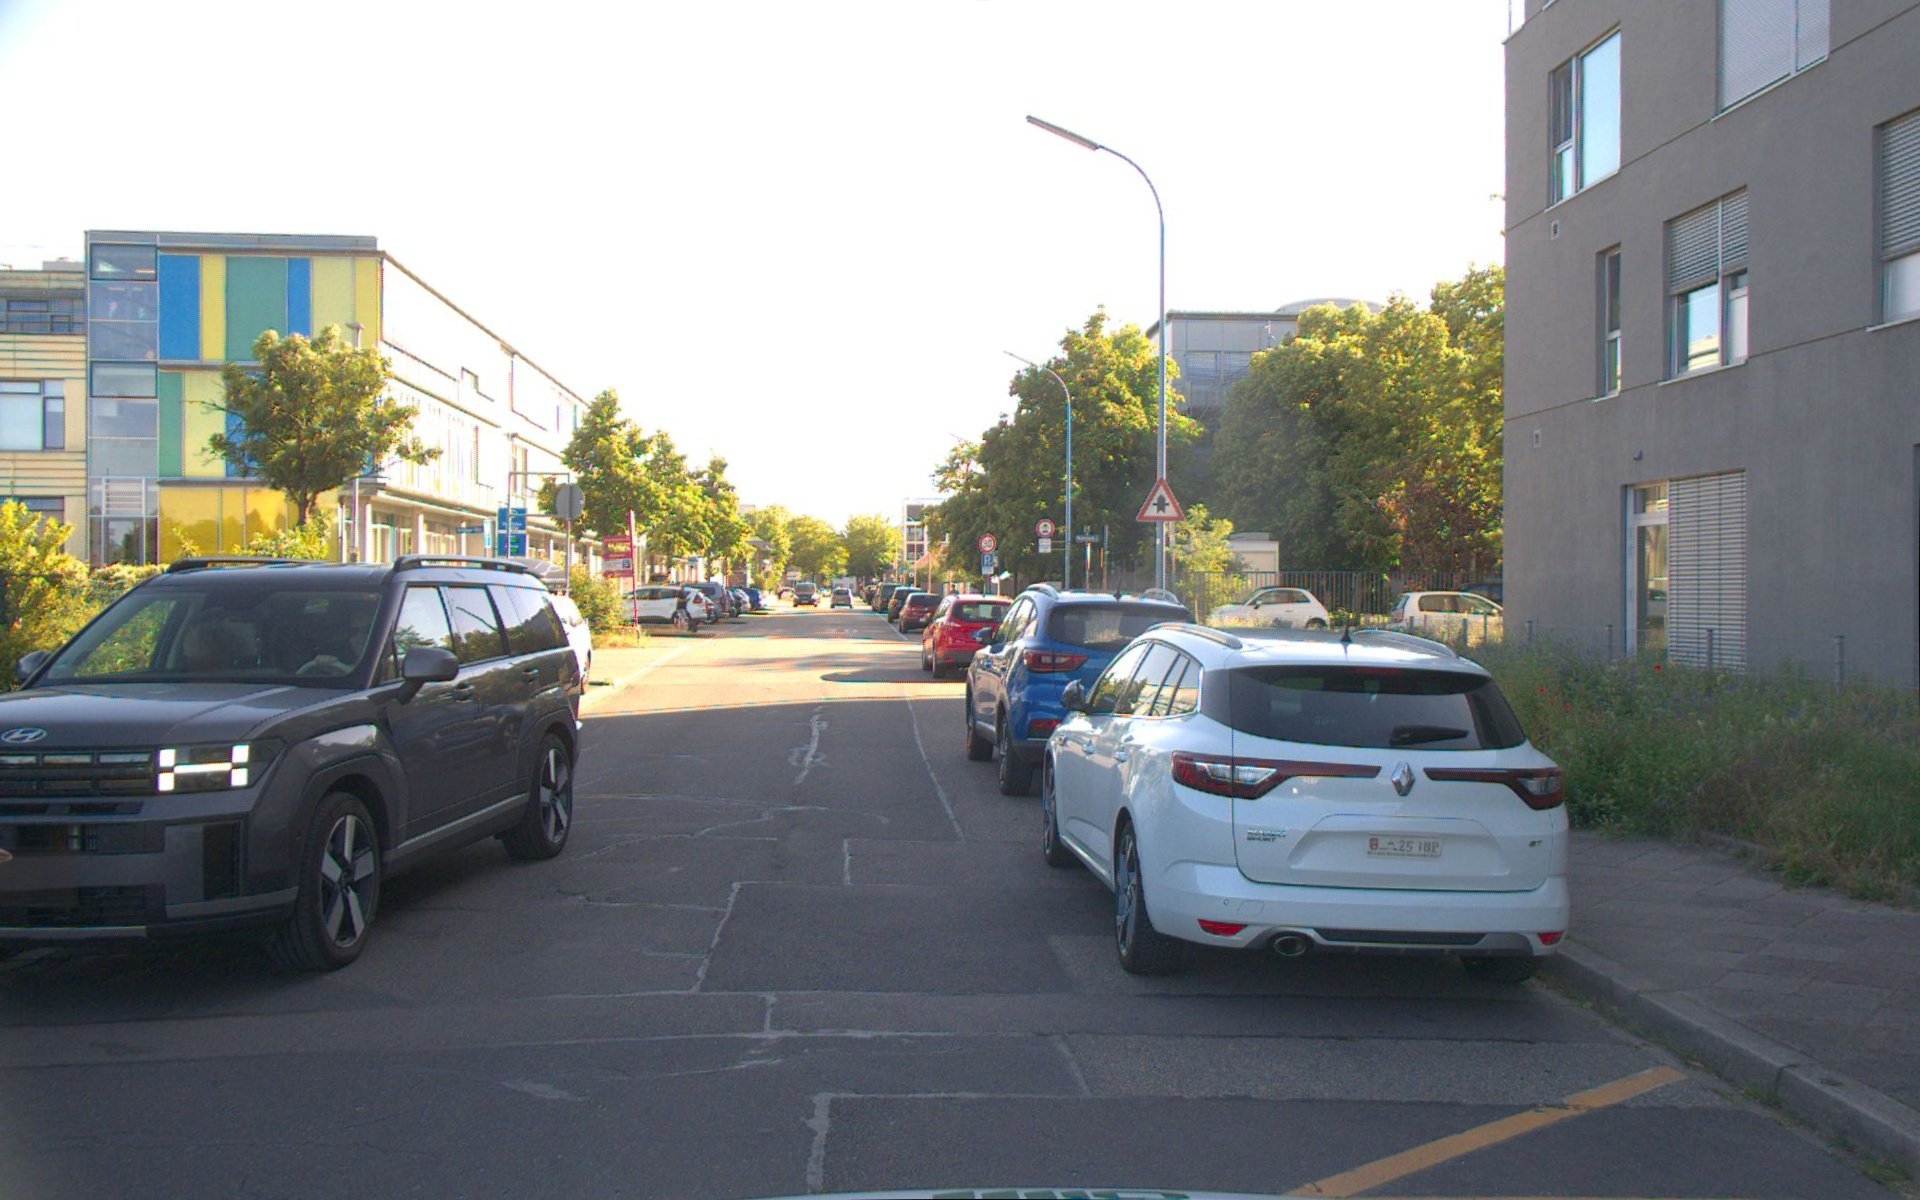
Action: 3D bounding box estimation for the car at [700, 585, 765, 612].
[{"bbox_3d":[-14.724,-0.121,107.183,4.135,1.631,1.869,1,0,-8],"label":"car"}]

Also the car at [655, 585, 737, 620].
[{"bbox_3d":[-12.965,0.121,81.489,3.912,1.635,1.869,1,0,-8],"label":"car"}]

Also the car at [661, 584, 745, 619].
[{"bbox_3d":[-13.103,0.063,84.439,4.167,1.640,2.044,1,0,-8],"label":"car"}]

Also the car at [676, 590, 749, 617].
[{"bbox_3d":[-13.453,0.173,90.043,3.912,1.382,1.740,1,0,-8],"label":"car"}]

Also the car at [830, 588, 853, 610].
[{"bbox_3d":[-8.972,-0.091,125.168,1.709,1.570,3.997,1,0,-4],"label":"car"}]

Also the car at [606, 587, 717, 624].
[{"bbox_3d":[-12.383,0.231,68.866,4.346,1.527,1.826,0,0,-4],"label":"car"}]

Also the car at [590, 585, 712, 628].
[{"bbox_3d":[-12.316,0.262,66.187,4.518,1.680,1.867,0,0,-1],"label":"car"}]

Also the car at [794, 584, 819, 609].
[{"bbox_3d":[-12.205,-0.288,131.196,1.917,1.900,5.248,0,0,-6],"label":"car"}]

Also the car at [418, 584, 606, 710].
[{"bbox_3d":[-6.170,0.583,23.265,1.662,1.540,4.513,2,0,-4],"label":"car"}]

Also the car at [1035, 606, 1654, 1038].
[{"bbox_3d":[1.484,0.805,8.170,1.710,1.454,4.582,2,0,-4],"label":"car"}]

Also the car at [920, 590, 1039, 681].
[{"bbox_3d":[0.286,0.598,30.788,1.783,1.526,4.448,2,0,-5],"label":"car"}]

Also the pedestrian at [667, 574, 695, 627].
[{"bbox_3d":[-9.926,0.019,58.866,0.840,1.874,0.825,2,0,-3],"label":"pedestrian"}]

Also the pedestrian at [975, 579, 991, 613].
[{"bbox_3d":[1.174,-0.216,85.532,0.684,1.690,0.751,-3,0,-5],"label":"pedestrian"}]

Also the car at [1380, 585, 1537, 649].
[{"bbox_3d":[11.873,0.394,39.532,3.258,1.484,1.715,0,0,1],"label":"car"}]

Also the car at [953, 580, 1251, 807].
[{"bbox_3d":[1.043,0.678,14.460,1.781,1.627,4.622,2,0,-5],"label":"car"}]

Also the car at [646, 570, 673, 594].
[{"bbox_3d":[-26.355,-1.566,145.115,1.954,2.049,3.996,0,-1,-4],"label":"car"}]

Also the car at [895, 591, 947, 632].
[{"bbox_3d":[-1.525,0.403,63.189,1.686,1.480,4.647,1,0,-5],"label":"car"}]

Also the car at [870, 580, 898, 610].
[{"bbox_3d":[-5.362,-0.383,116.495,1.838,2.013,3.997,-1,1,-4],"label":"car"}]

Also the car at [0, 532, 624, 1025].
[{"bbox_3d":[-3.339,0.635,8.392,1.901,1.757,4.841,-1,0,5],"label":"car"}]

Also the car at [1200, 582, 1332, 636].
[{"bbox_3d":[8.780,0.254,47.629,3.476,1.512,1.599,0,0,-4],"label":"car"}]

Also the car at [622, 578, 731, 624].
[{"bbox_3d":[-12.714,0.036,74.395,4.649,1.897,1.826,1,0,-4],"label":"car"}]

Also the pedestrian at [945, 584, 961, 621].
[{"bbox_3d":[-0.347,0.131,81.060,0.703,1.788,0.884,-2,1,-4],"label":"pedestrian"}]

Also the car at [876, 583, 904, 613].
[{"bbox_3d":[-4.422,-0.162,104.053,1.699,1.862,3.902,0,0,-4],"label":"car"}]

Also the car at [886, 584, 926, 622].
[{"bbox_3d":[-2.621,0.128,79.179,1.776,1.695,4.590,1,1,-3],"label":"car"}]

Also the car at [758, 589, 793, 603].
[{"bbox_3d":[-21.246,-0.466,190.459,3.908,1.546,1.998,0,-1,-4],"label":"car"}]
